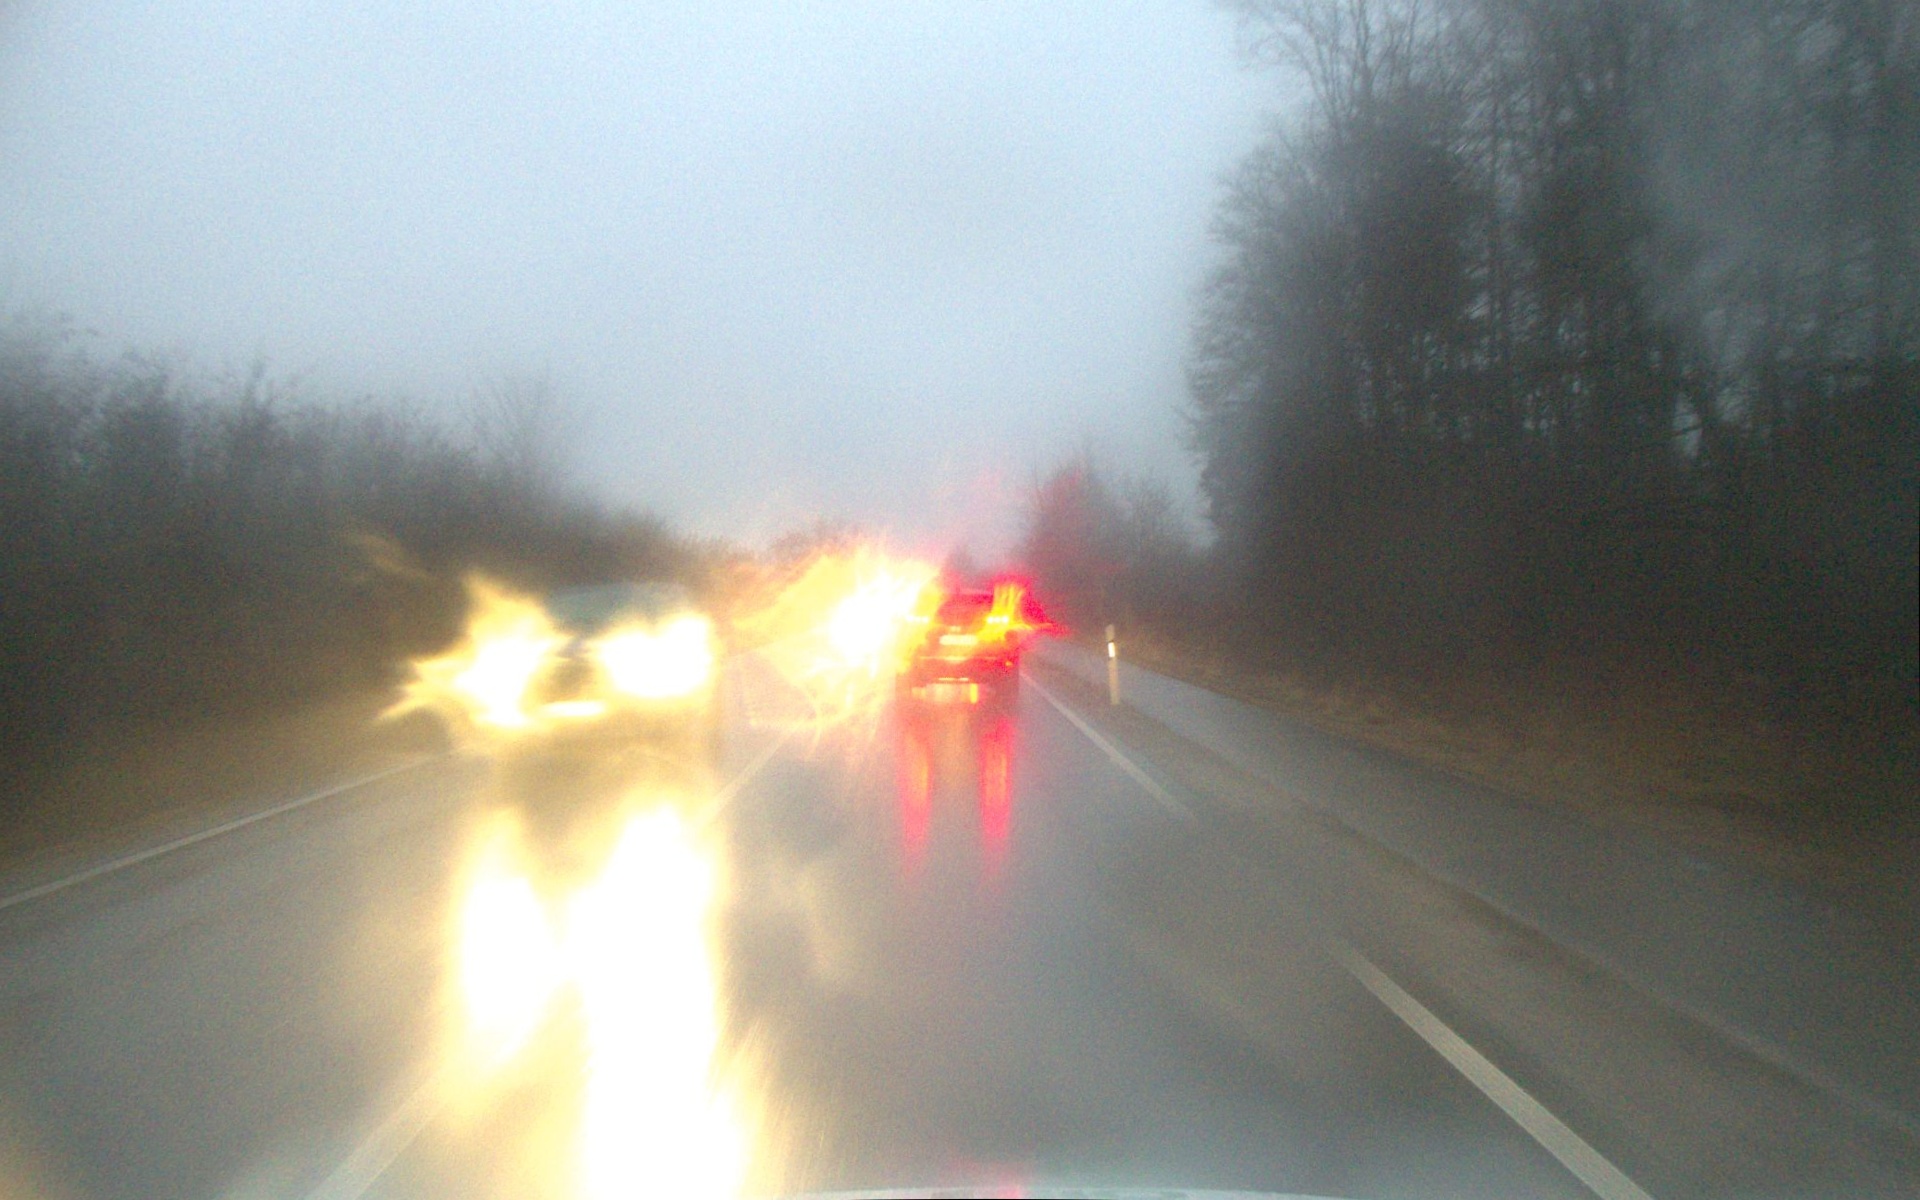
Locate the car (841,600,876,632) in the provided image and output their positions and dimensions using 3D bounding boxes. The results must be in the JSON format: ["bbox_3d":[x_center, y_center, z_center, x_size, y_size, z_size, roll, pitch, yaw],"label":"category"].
[{"bbox_3d":[-5.480,0.848,89.580,1.731,1.626,3.998,-2,0,-2],"label":"car"}]

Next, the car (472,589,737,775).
[{"bbox_3d":[-3.307,0.688,16.134,1.768,1.513,3.999,-2,1,-2],"label":"car"}]

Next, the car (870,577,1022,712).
[{"bbox_3d":[-0.234,0.603,25.222,2.077,1.852,4.979,0,0,-1],"label":"car"}]
